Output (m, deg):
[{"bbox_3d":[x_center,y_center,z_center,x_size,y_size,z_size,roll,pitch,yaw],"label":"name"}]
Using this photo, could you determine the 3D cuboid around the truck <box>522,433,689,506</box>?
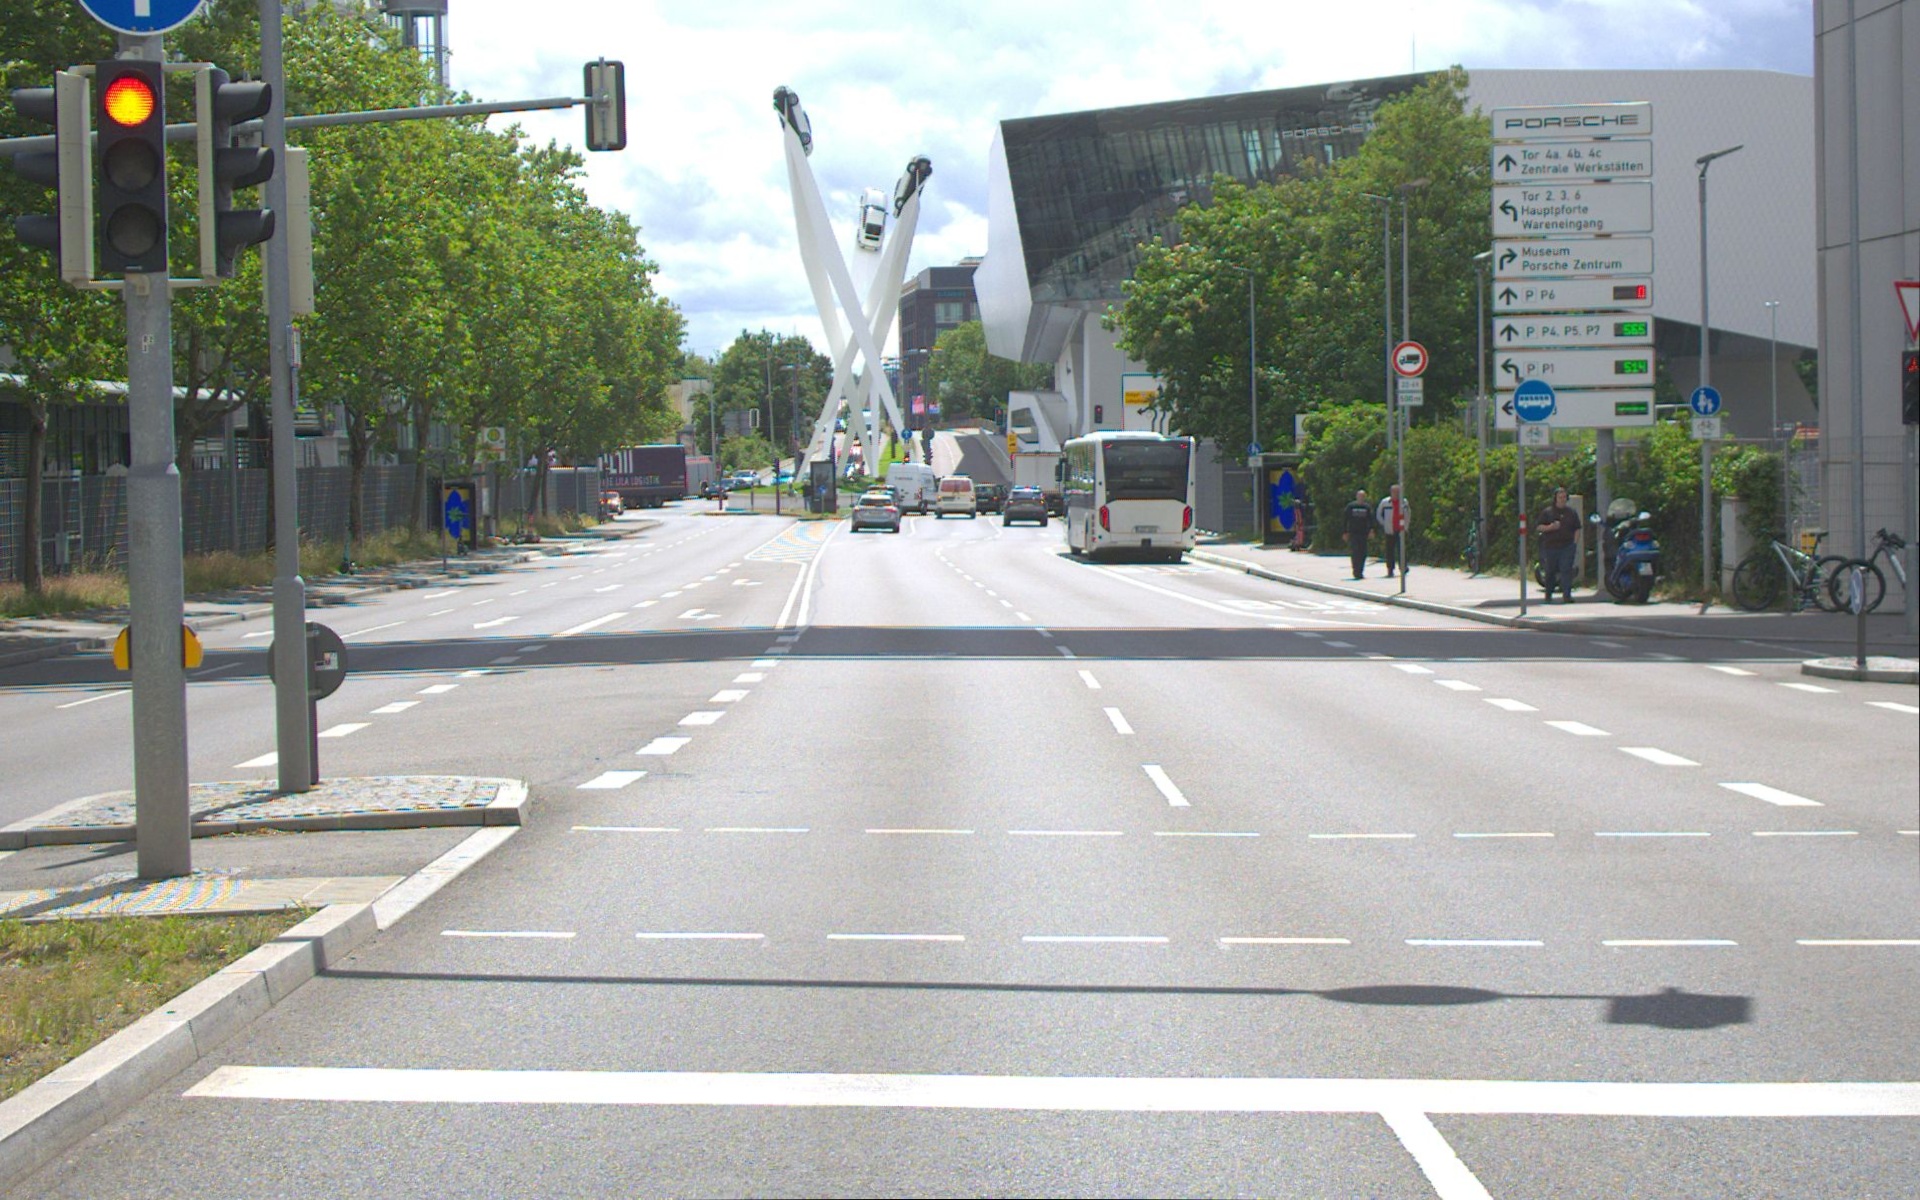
[{"bbox_3d":[-23.163,-8.472,225.643,3.571,4.309,12.141,1,0,37],"label":"truck"}]

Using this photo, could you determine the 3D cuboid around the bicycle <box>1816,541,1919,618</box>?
[{"bbox_3d":[11.598,-0.265,43.367,0.397,0.933,1.929,-1,1,-26],"label":"bicycle"}]

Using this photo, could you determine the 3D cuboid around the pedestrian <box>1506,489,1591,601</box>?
[{"bbox_3d":[8.650,-0.811,50.528,0.849,1.619,0.954,1,2,41],"label":"pedestrian"}]

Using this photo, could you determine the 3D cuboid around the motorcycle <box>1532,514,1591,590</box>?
[{"bbox_3d":[10.024,-0.817,57.375,0.574,1.199,2.024,-2,2,-1],"label":"motorcycle"}]

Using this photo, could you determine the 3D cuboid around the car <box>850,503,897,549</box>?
[{"bbox_3d":[-3.272,-2.826,131.249,1.738,1.735,3.692,0,1,-1],"label":"car"}]

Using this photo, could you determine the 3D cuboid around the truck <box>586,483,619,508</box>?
[{"bbox_3d":[-22.137,-6.465,212.974,1.583,1.532,3.680,0,1,-13],"label":"truck"}]

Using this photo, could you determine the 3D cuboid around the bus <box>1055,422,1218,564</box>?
[{"bbox_3d":[4.558,-2.799,91.205,3.452,3.531,10.607,0,1,-2],"label":"bus"}]

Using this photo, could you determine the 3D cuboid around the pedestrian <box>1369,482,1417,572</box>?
[{"bbox_3d":[8.375,-1.409,66.511,0.820,1.735,0.637,0,1,-1],"label":"pedestrian"}]

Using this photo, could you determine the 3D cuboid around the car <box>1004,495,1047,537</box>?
[{"bbox_3d":[2.762,-3.561,146.034,1.738,1.735,3.692,0,1,-1],"label":"car"}]

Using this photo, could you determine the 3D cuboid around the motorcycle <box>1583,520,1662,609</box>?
[{"bbox_3d":[9.543,-0.528,49.573,0.706,1.199,2.024,-2,2,-1],"label":"motorcycle"}]

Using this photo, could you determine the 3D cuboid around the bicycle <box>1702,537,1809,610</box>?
[{"bbox_3d":[10.550,-0.362,45.653,0.397,0.933,1.929,0,1,-19],"label":"bicycle"}]

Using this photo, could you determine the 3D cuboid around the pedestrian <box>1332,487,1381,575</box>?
[{"bbox_3d":[7.660,-1.336,66.445,0.820,1.701,0.881,0,1,-1],"label":"pedestrian"}]

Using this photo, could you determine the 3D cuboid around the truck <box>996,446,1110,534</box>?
[{"bbox_3d":[4.830,-5.589,176.049,3.455,4.376,9.413,0,1,17],"label":"truck"}]

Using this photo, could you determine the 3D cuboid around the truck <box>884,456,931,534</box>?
[{"bbox_3d":[-2.688,-5.374,176.626,2.392,3.884,6.178,0,1,-1],"label":"truck"}]

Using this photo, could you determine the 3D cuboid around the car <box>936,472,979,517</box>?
[{"bbox_3d":[-0.150,-5.078,166.004,1.993,2.007,4.000,1,0,-1],"label":"car"}]
